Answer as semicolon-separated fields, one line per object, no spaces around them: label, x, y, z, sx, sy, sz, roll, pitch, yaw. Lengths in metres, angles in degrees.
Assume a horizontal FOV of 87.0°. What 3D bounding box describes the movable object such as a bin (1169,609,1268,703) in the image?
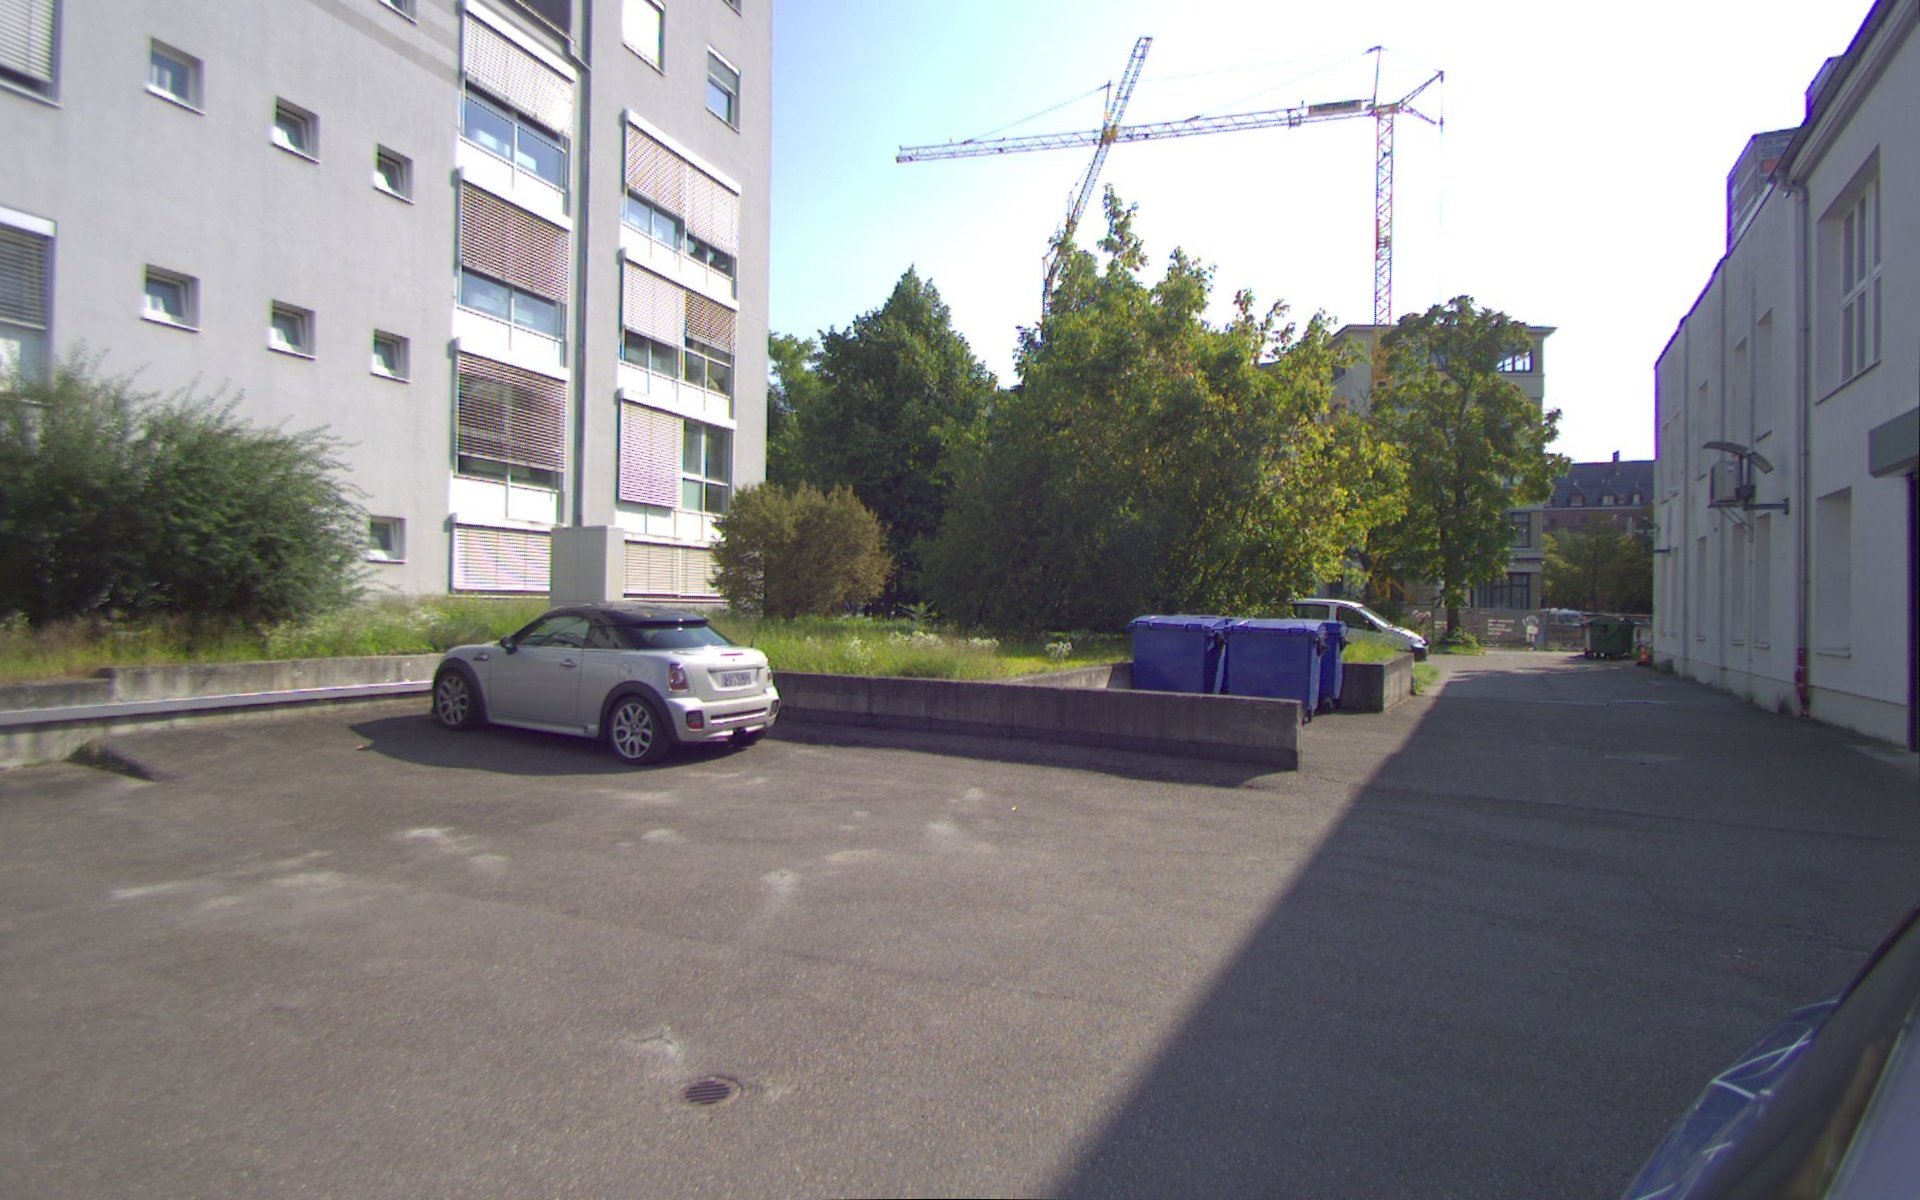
movable object such as a bin;3.977;0.822;15.520;1.190;1.344;1.261;0;-1;30

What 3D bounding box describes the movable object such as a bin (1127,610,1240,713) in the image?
movable object such as a bin;3.149;0.821;14.199;1.247;1.344;1.261;0;-1;30

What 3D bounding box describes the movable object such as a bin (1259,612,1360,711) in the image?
movable object such as a bin;5.118;0.860;14.802;1.190;1.344;1.261;0;-1;30

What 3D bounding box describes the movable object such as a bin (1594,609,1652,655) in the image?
movable object such as a bin;21.913;1.043;33.490;1.512;1.484;1.261;0;-1;30

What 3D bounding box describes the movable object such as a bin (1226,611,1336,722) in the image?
movable object such as a bin;4.294;0.844;13.485;1.203;1.368;1.262;0;-1;28

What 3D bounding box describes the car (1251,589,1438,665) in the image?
car;11.003;0.722;29.061;4.756;1.956;1.887;1;-1;32

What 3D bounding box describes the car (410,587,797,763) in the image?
car;-3.567;0.635;10.101;3.546;1.456;1.643;1;-1;27
